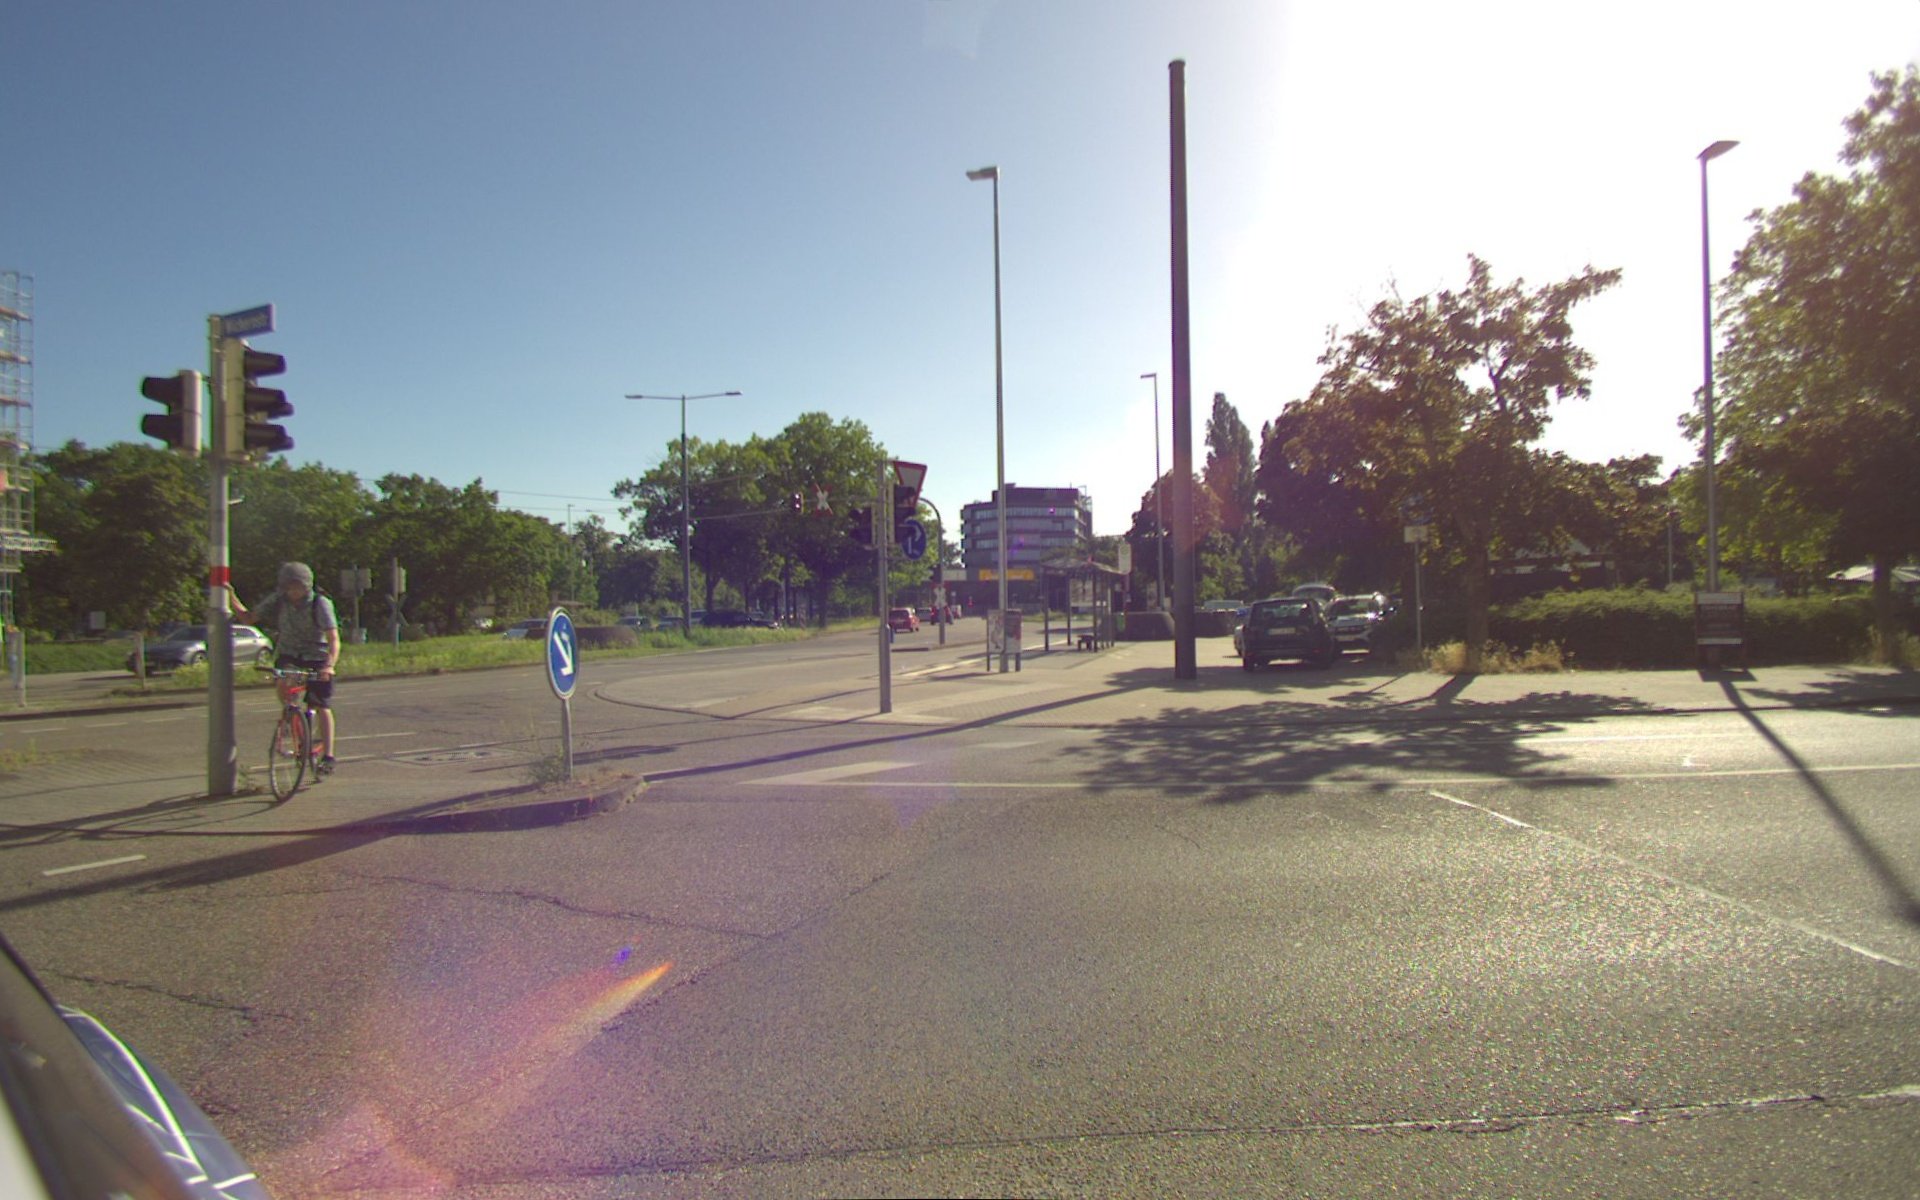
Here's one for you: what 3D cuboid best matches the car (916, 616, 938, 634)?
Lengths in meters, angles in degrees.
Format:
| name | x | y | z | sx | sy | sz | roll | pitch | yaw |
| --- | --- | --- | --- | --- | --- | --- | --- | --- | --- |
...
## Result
| name | x | y | z | sx | sy | sz | roll | pitch | yaw |
| --- | --- | --- | --- | --- | --- | --- | --- | --- | --- |
| car | -3.095 | 2.341 | 94.923 | 1.971 | 1.675 | 4.487 | -1 | -1 | -3 |

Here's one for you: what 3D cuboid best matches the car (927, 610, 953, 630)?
| name | x | y | z | sx | sy | sz | roll | pitch | yaw |
| --- | --- | --- | --- | --- | --- | --- | --- | --- | --- |
| car | -1.637 | 1.640 | 83.349 | 1.972 | 1.564 | 4.483 | -1 | -1 | 1 |

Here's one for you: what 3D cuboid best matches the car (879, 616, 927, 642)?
| name | x | y | z | sx | sy | sz | roll | pitch | yaw |
| --- | --- | --- | --- | --- | --- | --- | --- | --- | --- |
| car | -3.504 | 1.787 | 63.427 | 1.979 | 1.564 | 4.469 | -1 | -1 | 11 |

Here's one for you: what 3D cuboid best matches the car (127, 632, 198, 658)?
| name | x | y | z | sx | sy | sz | roll | pitch | yaw |
| --- | --- | --- | --- | --- | --- | --- | --- | --- | --- |
| car | -51.790 | 2.899 | 65.808 | 1.795 | 1.596 | 3.686 | -1 | -1 | -2 |

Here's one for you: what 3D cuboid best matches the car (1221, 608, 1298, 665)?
| name | x | y | z | sx | sy | sz | roll | pitch | yaw |
| --- | --- | --- | --- | --- | --- | --- | --- | --- | --- |
| car | 8.629 | 1.000 | 28.977 | 1.673 | 1.519 | 3.567 | -2 | -1 | 23 |

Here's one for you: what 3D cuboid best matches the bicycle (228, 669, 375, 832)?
| name | x | y | z | sx | sy | sz | roll | pitch | yaw |
| --- | --- | --- | --- | --- | --- | --- | --- | --- | --- |
| bicycle | -5.033 | 1.080 | 7.851 | 0.815 | 0.994 | 1.952 | 0 | -1 | -29 |

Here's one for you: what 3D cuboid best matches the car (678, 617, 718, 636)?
| name | x | y | z | sx | sy | sz | roll | pitch | yaw |
| --- | --- | --- | --- | --- | --- | --- | --- | --- | --- |
| car | -21.162 | 2.135 | 81.864 | 1.849 | 1.467 | 4.480 | -1 | -1 | 3 |

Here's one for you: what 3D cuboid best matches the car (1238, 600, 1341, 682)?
| name | x | y | z | sx | sy | sz | roll | pitch | yaw |
| --- | --- | --- | --- | --- | --- | --- | --- | --- | --- |
| car | 7.001 | 0.826 | 21.306 | 1.673 | 1.519 | 3.567 | -4 | -2 | 23 |

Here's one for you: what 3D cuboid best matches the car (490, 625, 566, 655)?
| name | x | y | z | sx | sy | sz | roll | pitch | yaw |
| --- | --- | --- | --- | --- | --- | --- | --- | --- | --- |
| car | -22.280 | 2.040 | 52.395 | 1.849 | 1.467 | 4.480 | -1 | -1 | 3 |

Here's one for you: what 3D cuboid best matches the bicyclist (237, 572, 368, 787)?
| name | x | y | z | sx | sy | sz | roll | pitch | yaw |
| --- | --- | --- | --- | --- | --- | --- | --- | --- | --- |
| bicyclist | -5.098 | 0.588 | 7.894 | 0.814 | 1.576 | 0.598 | 0 | -1 | -29 |

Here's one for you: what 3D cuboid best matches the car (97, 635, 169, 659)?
| name | x | y | z | sx | sy | sz | roll | pitch | yaw |
| --- | --- | --- | --- | --- | --- | --- | --- | --- | --- |
| car | -54.013 | 3.058 | 66.206 | 1.795 | 1.405 | 3.686 | -1 | -1 | -2 |

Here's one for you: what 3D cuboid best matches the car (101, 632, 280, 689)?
| name | x | y | z | sx | sy | sz | roll | pitch | yaw |
| --- | --- | --- | --- | --- | --- | --- | --- | --- | --- |
| car | -22.822 | 1.744 | 30.263 | 1.849 | 1.467 | 4.481 | -1 | -1 | 2 |

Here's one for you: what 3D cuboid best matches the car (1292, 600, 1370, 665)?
| name | x | y | z | sx | sy | sz | roll | pitch | yaw |
| --- | --- | --- | --- | --- | --- | --- | --- | --- | --- |
| car | 9.908 | 0.828 | 26.992 | 1.787 | 1.592 | 3.971 | -1 | -1 | 21 |
